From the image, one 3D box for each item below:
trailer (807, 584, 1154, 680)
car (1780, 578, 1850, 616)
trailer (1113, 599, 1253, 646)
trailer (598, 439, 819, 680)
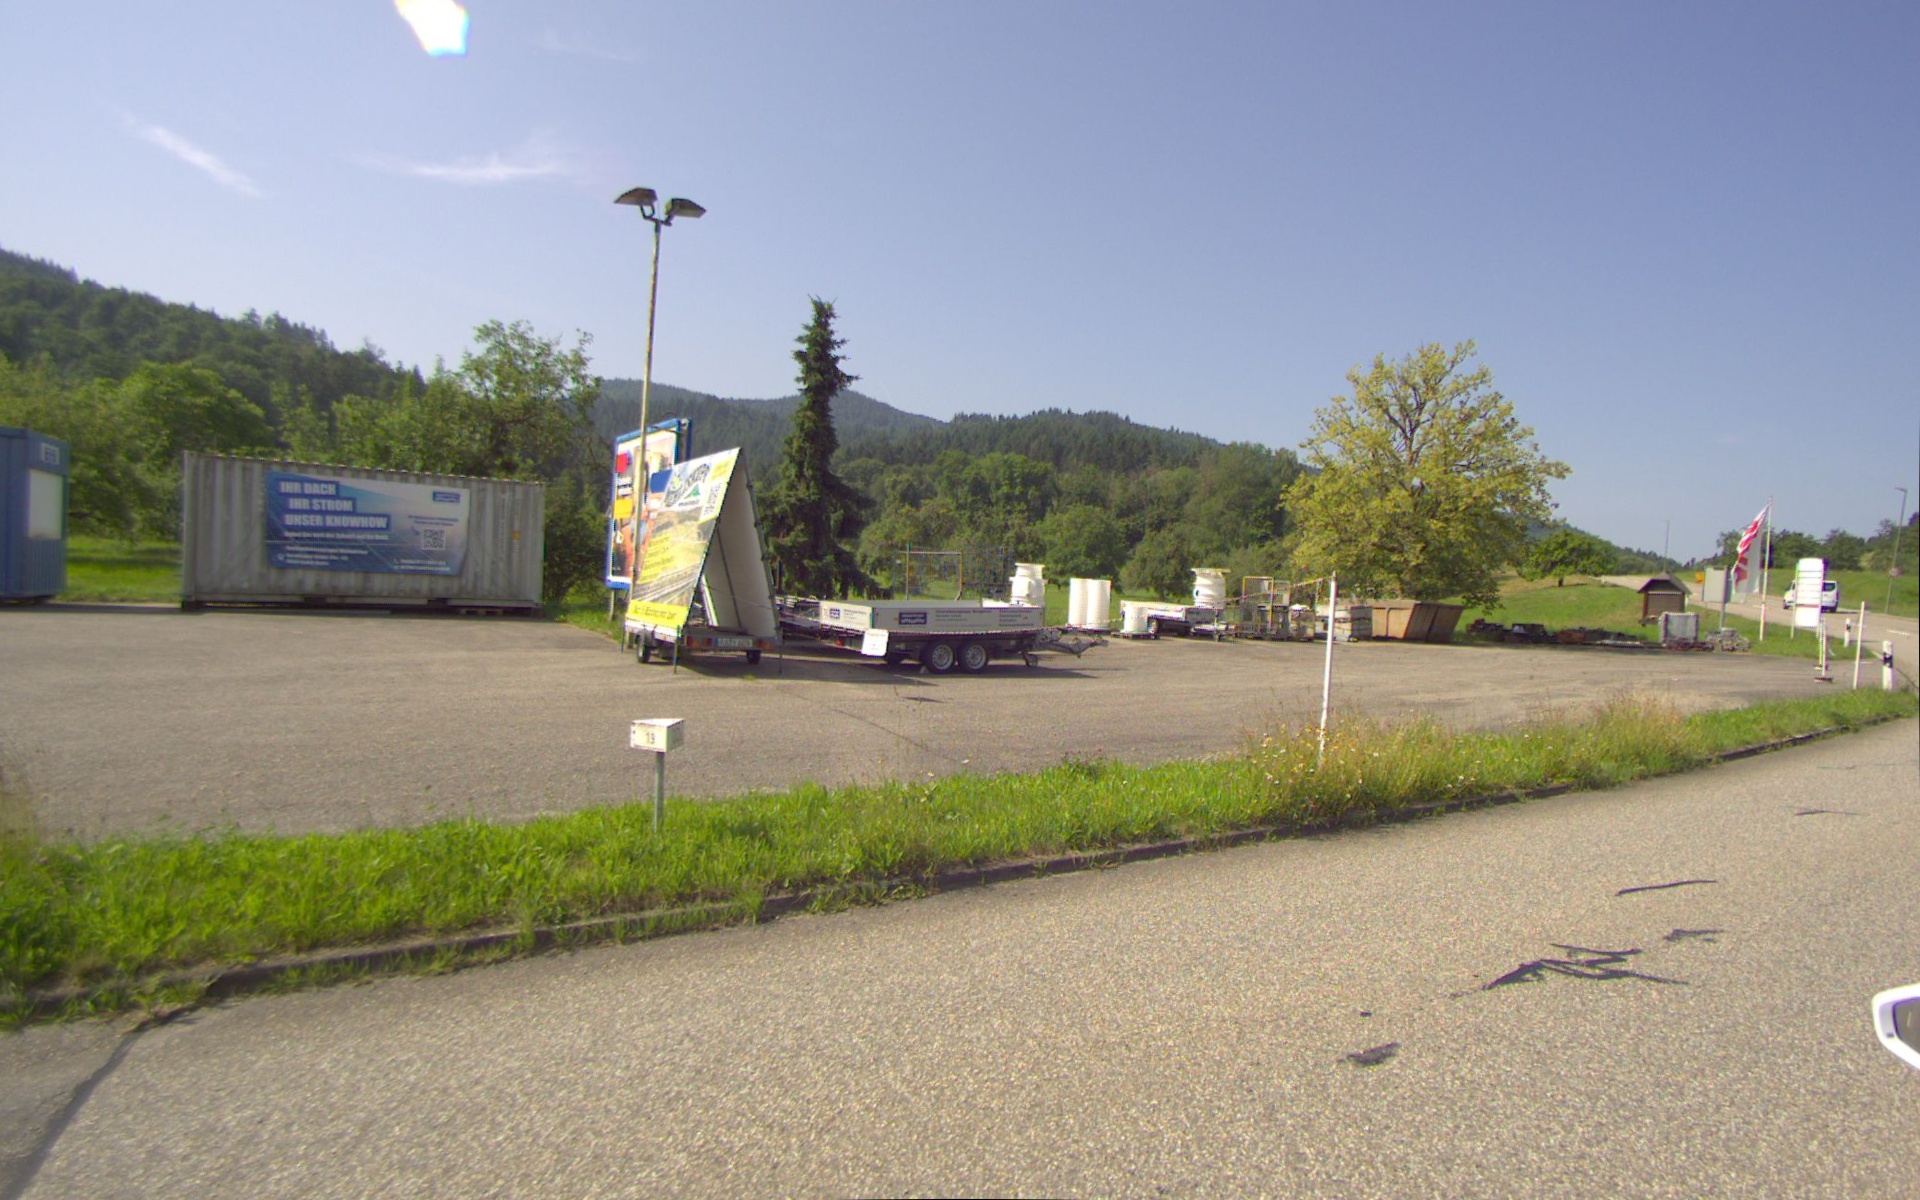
[{"bbox_3d":[0.449,0.533,16.453,5.487,1.243,1.981,2,3,-33],"label":"trailer"},{"bbox_3d":[54.776,-0.205,64.450,2.188,2.317,4.979,0,0,26],"label":"car"},{"bbox_3d":[6.484,0.637,29.609,1.846,0.952,3.912,3,2,-30],"label":"trailer"},{"bbox_3d":[-3.651,-0.580,14.195,1.865,2.951,3.368,2,3,-35],"label":"trailer"}]
